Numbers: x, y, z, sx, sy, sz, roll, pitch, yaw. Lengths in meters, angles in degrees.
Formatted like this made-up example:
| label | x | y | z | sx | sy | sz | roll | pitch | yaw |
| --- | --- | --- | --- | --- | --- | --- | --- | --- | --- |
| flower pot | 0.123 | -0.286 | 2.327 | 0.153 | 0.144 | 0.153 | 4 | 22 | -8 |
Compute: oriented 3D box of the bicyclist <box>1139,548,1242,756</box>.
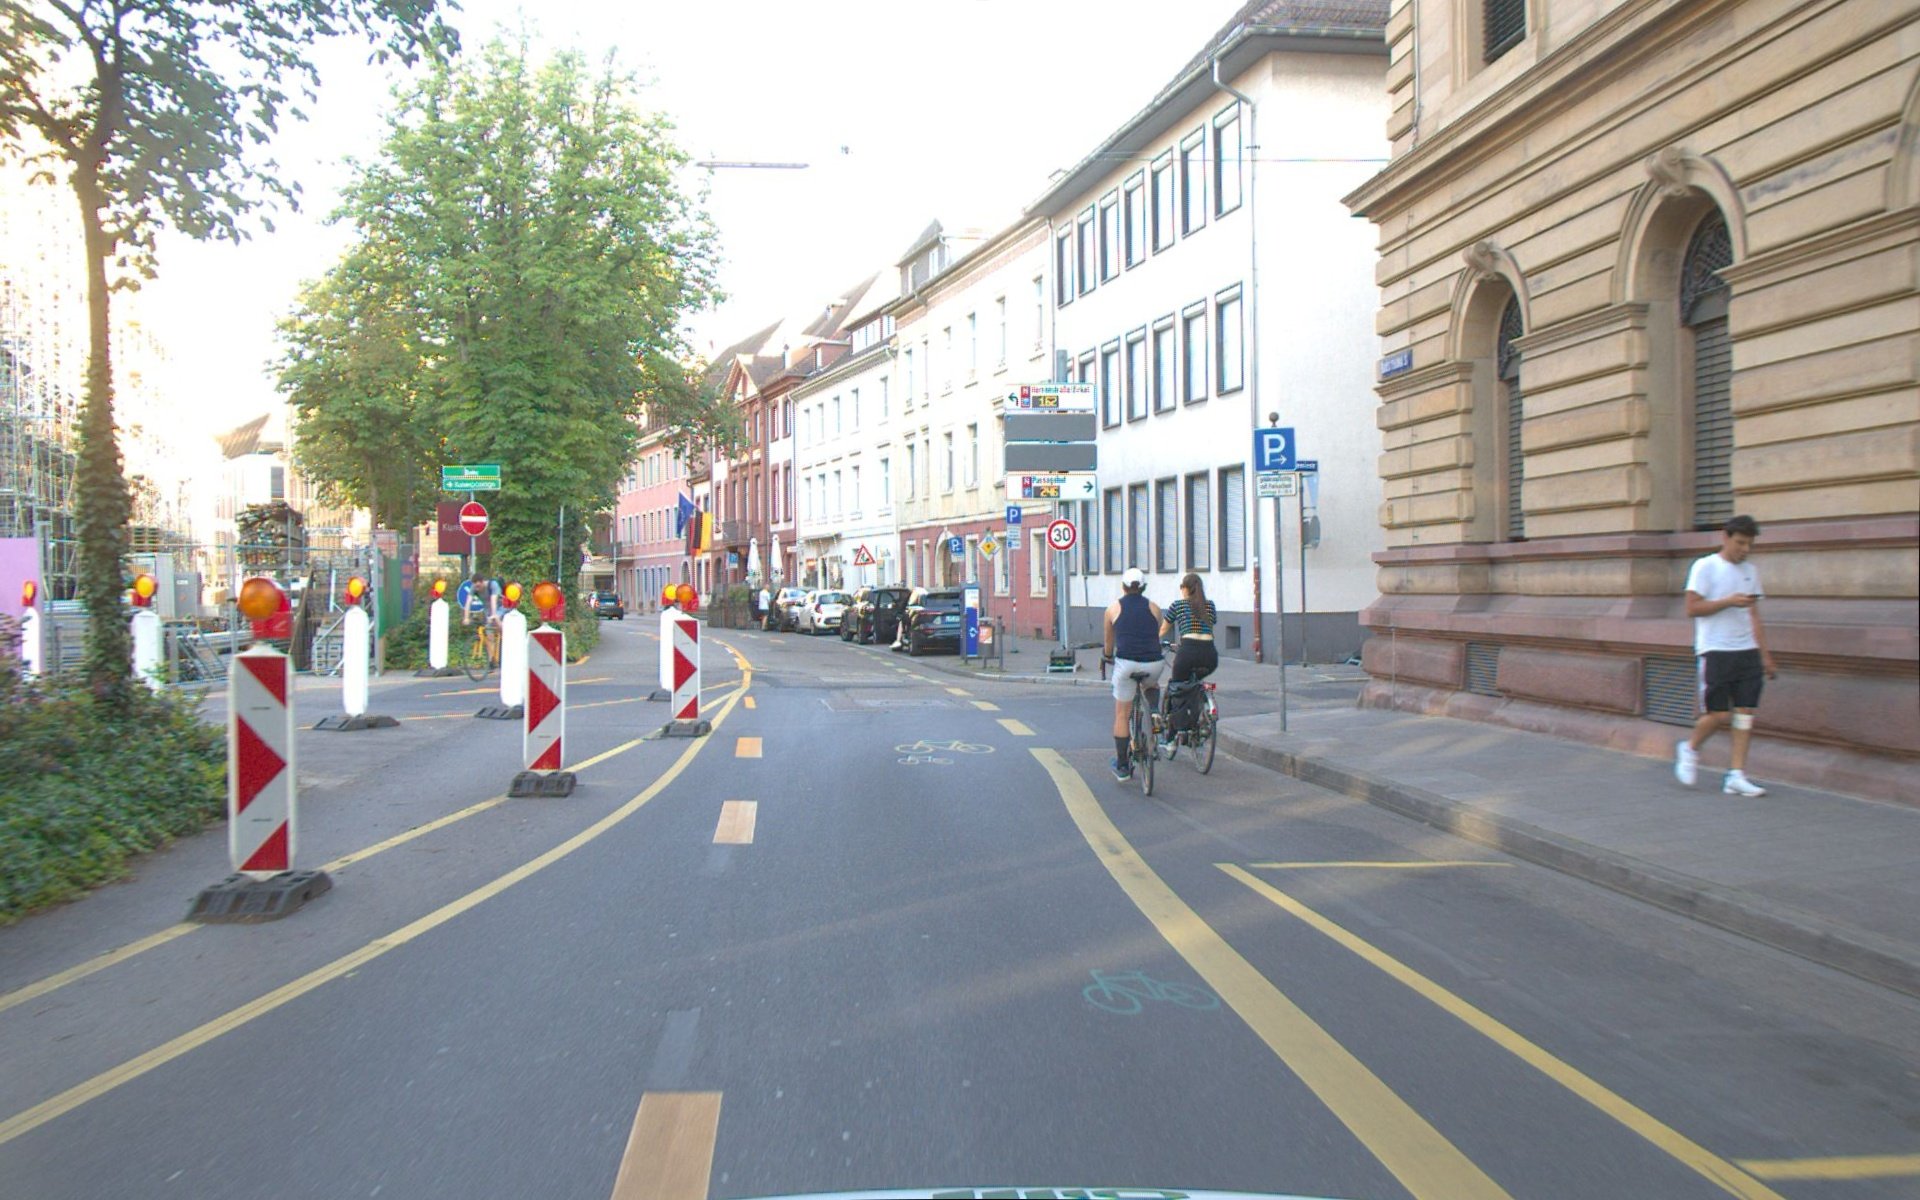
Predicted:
| label | x | y | z | sx | sy | sz | roll | pitch | yaw |
| --- | --- | --- | --- | --- | --- | --- | --- | --- | --- |
| bicyclist | 2.043 | 0.449 | 14.721 | 0.637 | 1.791 | 0.862 | 1 | 0 | -10 |

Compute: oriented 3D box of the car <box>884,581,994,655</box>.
| label | x | y | z | sx | sy | sz | roll | pitch | yaw |
| --- | --- | --- | --- | --- | --- | --- | --- | --- | --- |
| car | -0.577 | 0.409 | 40.809 | 1.783 | 1.712 | 3.902 | 0 | 0 | -16 |

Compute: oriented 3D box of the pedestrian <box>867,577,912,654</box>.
| label | x | y | z | sx | sy | sz | roll | pitch | yaw |
| --- | --- | --- | --- | --- | --- | --- | --- | --- | --- |
| pedestrian | -1.778 | 0.376 | 41.616 | 0.888 | 1.898 | 0.926 | 0 | 0 | -22 |

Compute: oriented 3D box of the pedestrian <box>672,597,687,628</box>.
| label | x | y | z | sx | sy | sz | roll | pitch | yaw |
| --- | --- | --- | --- | --- | --- | --- | --- | --- | --- |
| pedestrian | -16.341 | 0.743 | 96.290 | 0.739 | 1.793 | 0.582 | -1 | 0 | -20 |

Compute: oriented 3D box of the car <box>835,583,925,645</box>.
| label | x | y | z | sx | sy | sz | roll | pitch | yaw |
| --- | --- | --- | --- | --- | --- | --- | --- | --- | --- |
| car | -2.393 | 0.377 | 48.653 | 1.783 | 1.713 | 3.983 | 0 | 0 | -16 |

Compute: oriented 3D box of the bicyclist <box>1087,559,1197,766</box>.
| label | x | y | z | sx | sy | sz | roll | pitch | yaw |
| --- | --- | --- | --- | --- | --- | --- | --- | --- | --- |
| bicyclist | 1.437 | 0.484 | 13.157 | 0.657 | 1.593 | 0.696 | 1 | 0 | -12 |

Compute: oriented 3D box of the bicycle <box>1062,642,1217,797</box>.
| label | x | y | z | sx | sy | sz | roll | pitch | yaw |
| --- | --- | --- | --- | --- | --- | --- | --- | --- | --- |
| bicycle | 1.400 | 0.916 | 13.263 | 0.658 | 1.089 | 1.895 | 1 | 0 | -12 |

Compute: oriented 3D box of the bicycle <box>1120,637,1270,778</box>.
| label | x | y | z | sx | sy | sz | roll | pitch | yaw |
| --- | --- | --- | --- | --- | --- | --- | --- | --- | --- |
| bicycle | 2.040 | 0.913 | 14.706 | 0.641 | 1.089 | 2.253 | 1 | 0 | -10 |

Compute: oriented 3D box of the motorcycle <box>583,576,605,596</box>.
| label | x | y | z | sx | sy | sz | roll | pitch | yaw |
| --- | --- | --- | --- | --- | --- | --- | --- | --- | --- |
| motorcycle | -22.957 | -0.865 | 103.710 | 1.027 | 1.270 | 2.382 | -1 | 0 | -22 |

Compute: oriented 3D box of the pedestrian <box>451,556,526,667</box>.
| label | x | y | z | sx | sy | sz | roll | pitch | yaw |
| --- | --- | --- | --- | --- | --- | --- | --- | --- | --- |
| pedestrian | -7.401 | 0.174 | 25.980 | 0.720 | 1.703 | 0.895 | 0 | 0 | 24 |

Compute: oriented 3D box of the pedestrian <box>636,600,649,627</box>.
| label | x | y | z | sx | sy | sz | roll | pitch | yaw |
| --- | --- | --- | --- | --- | --- | --- | --- | --- | --- |
| pedestrian | -18.735 | 0.807 | 97.702 | 0.657 | 1.609 | 0.582 | -1 | 0 | -20 |

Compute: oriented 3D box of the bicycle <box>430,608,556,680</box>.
| label | x | y | z | sx | sy | sz | roll | pitch | yaw |
| --- | --- | --- | --- | --- | --- | --- | --- | --- | --- |
| bicycle | -7.349 | 0.668 | 26.120 | 0.745 | 1.055 | 2.120 | 0 | 0 | 23 |

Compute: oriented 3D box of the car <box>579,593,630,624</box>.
| label | x | y | z | sx | sy | sz | roll | pitch | yaw |
| --- | --- | --- | --- | --- | --- | --- | --- | --- | --- |
| car | -19.281 | 0.445 | 89.510 | 1.791 | 1.587 | 3.830 | -1 | 0 | -27 |

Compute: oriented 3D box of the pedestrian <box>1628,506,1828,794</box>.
| label | x | y | z | sx | sy | sz | roll | pitch | yaw |
| --- | --- | --- | --- | --- | --- | --- | --- | --- | --- |
| pedestrian | 5.011 | 0.308 | 10.855 | 0.800 | 1.796 | 1.038 | 0 | 1 | -1 |

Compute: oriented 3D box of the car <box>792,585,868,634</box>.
| label | x | y | z | sx | sy | sz | roll | pitch | yaw |
| --- | --- | --- | --- | --- | --- | --- | --- | --- | --- |
| car | -4.486 | 0.307 | 56.513 | 1.784 | 1.587 | 3.846 | 0 | 0 | -17 |

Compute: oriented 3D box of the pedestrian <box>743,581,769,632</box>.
| label | x | y | z | sx | sy | sz | roll | pitch | yaw |
| --- | --- | --- | --- | --- | --- | --- | --- | --- | --- |
| pedestrian | -7.488 | 0.234 | 60.726 | 0.814 | 1.876 | 0.958 | 0 | 1 | -1 |

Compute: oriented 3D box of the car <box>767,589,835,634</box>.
| label | x | y | z | sx | sy | sz | roll | pitch | yaw |
| --- | --- | --- | --- | --- | --- | --- | --- | --- | --- |
| car | -5.884 | 0.414 | 60.852 | 1.784 | 1.587 | 3.846 | 0 | 0 | -17 |
